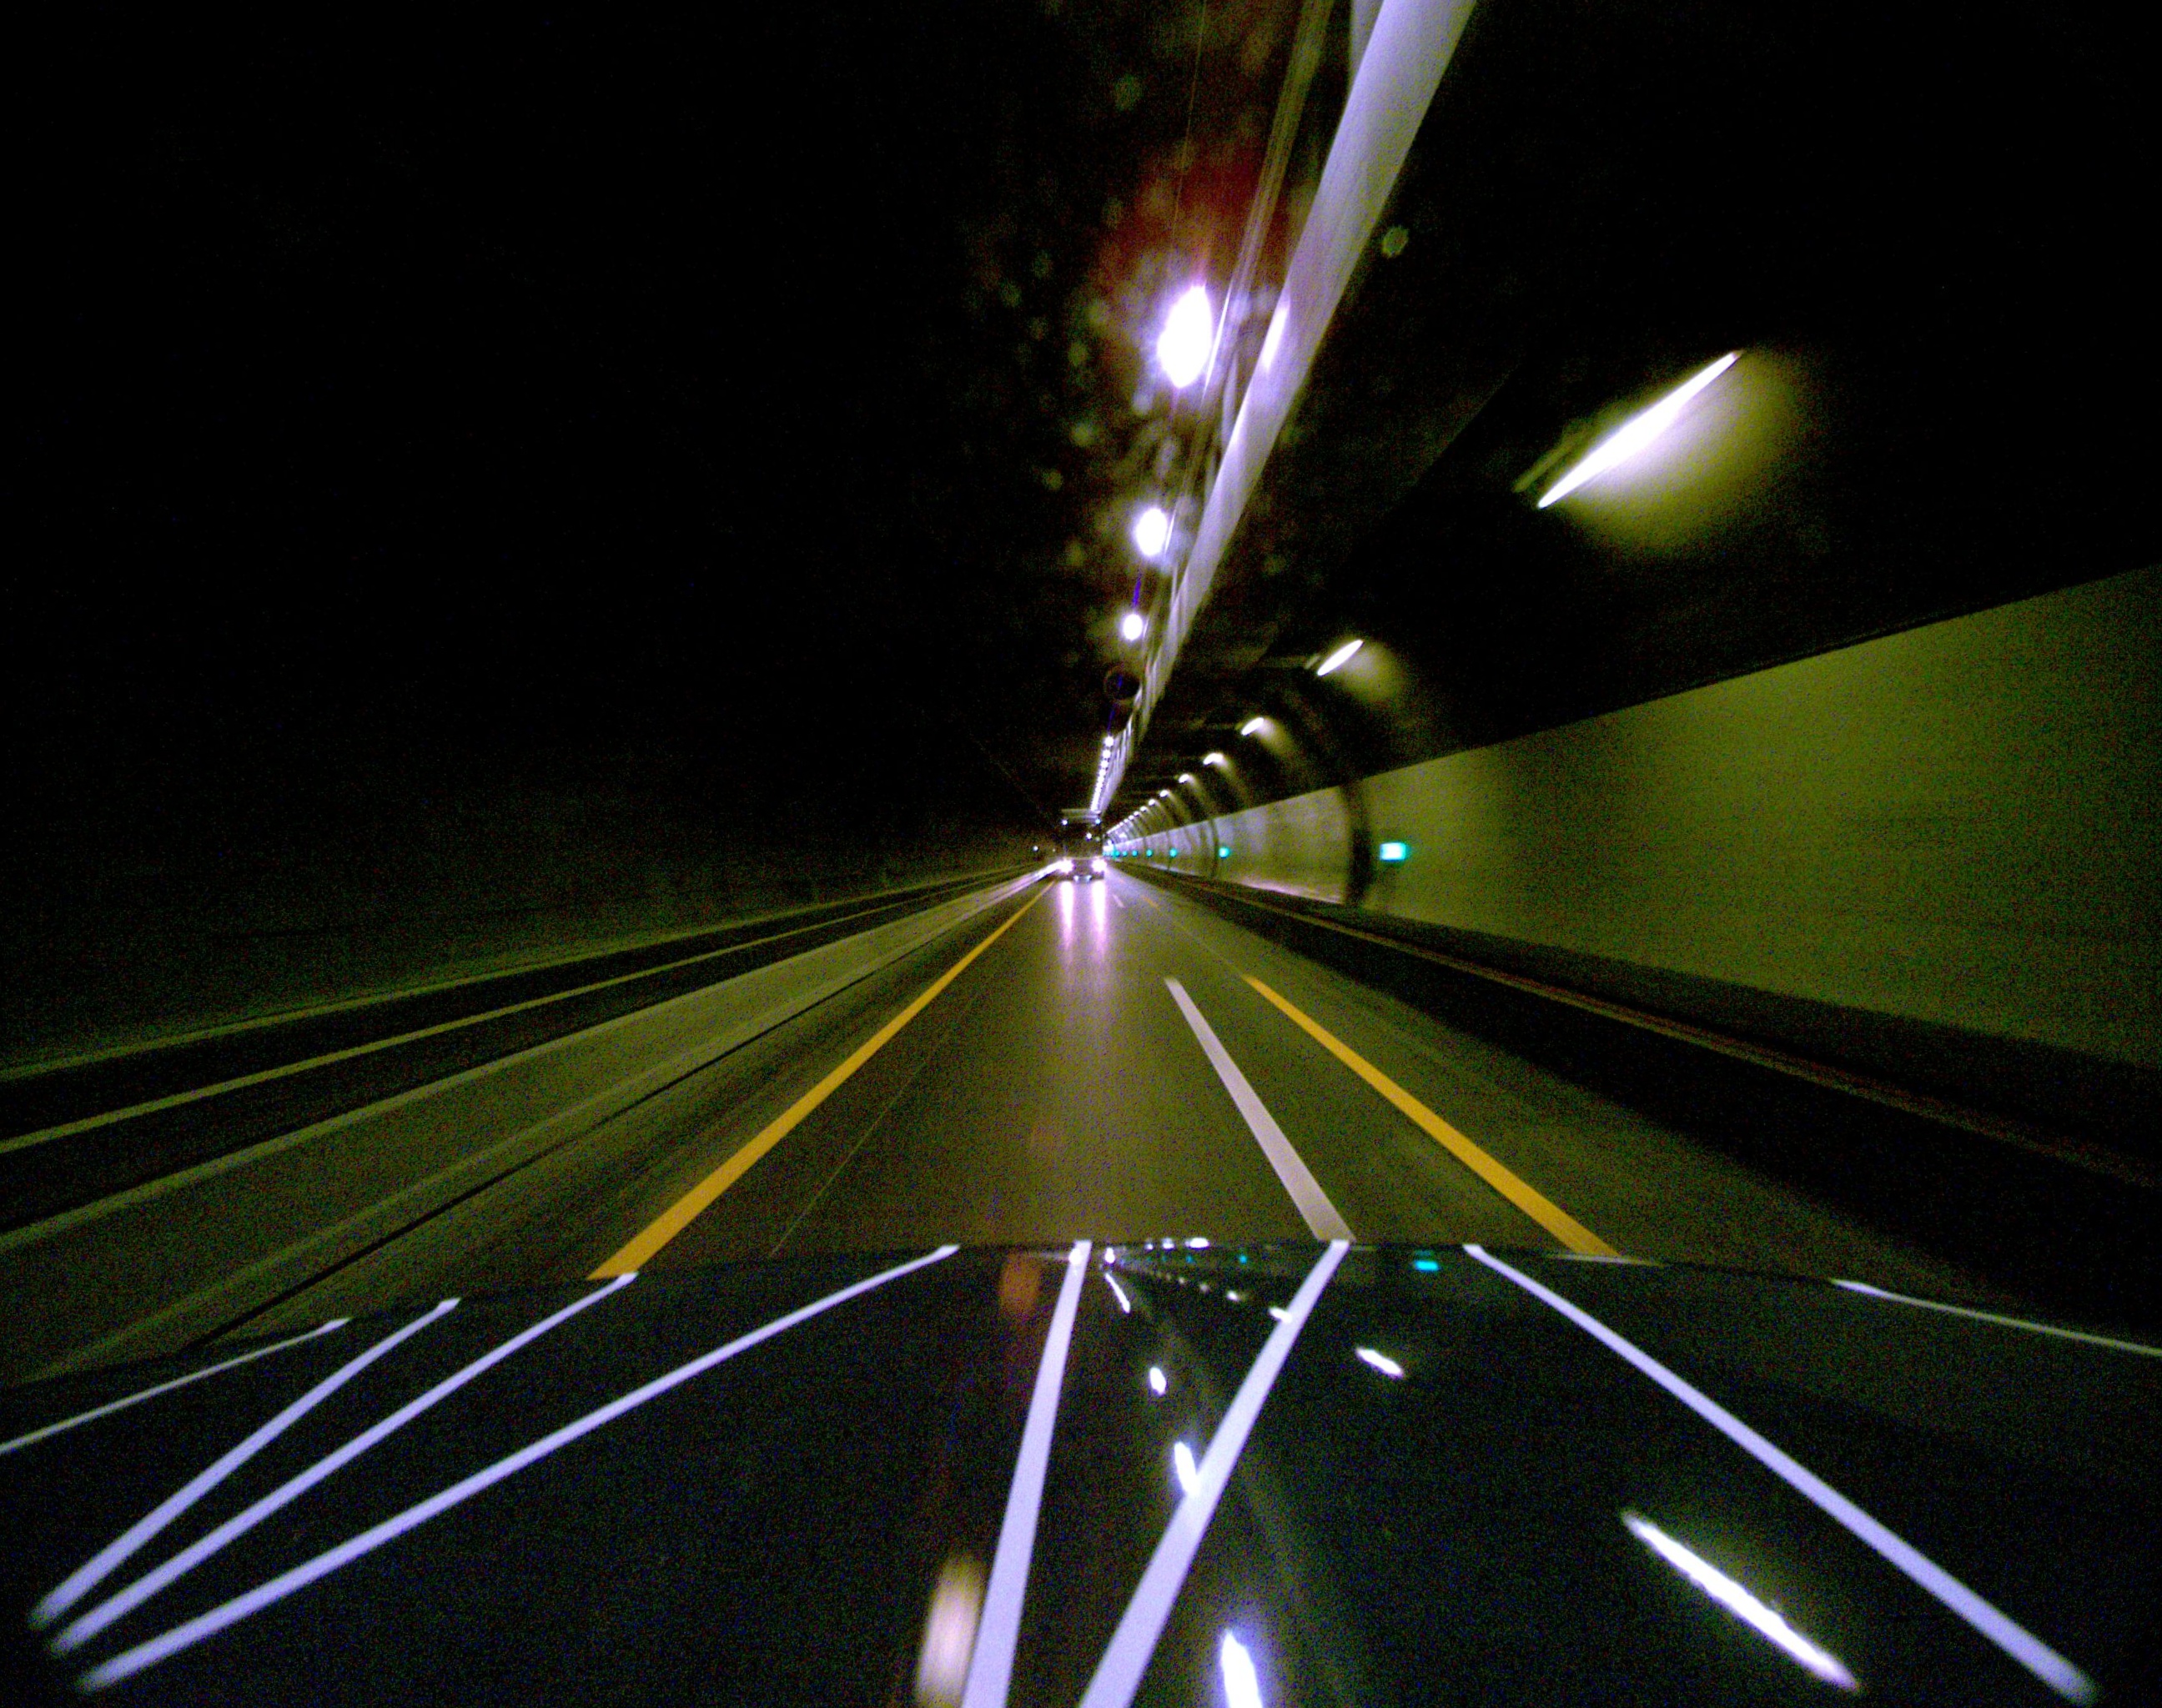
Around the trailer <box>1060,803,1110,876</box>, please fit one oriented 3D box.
[{"bbox_3d":[0.259,-0.925,51.083,2.940,4.316,10.050,-2,1,0],"label":"trailer"}]

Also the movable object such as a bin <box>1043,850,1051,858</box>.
[{"bbox_3d":[-7.627,0.074,169.752,1.560,1.699,3.054,-2,1,-1],"label":"movable object such as a bin"}]

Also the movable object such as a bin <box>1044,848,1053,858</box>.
[{"bbox_3d":[-6.943,-0.198,163.366,1.688,2.133,4.627,-2,1,-1],"label":"movable object such as a bin"}]

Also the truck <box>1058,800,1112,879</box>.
[{"bbox_3d":[0.237,-0.861,45.866,2.951,4.338,6.674,-2,1,0],"label":"truck"}]
